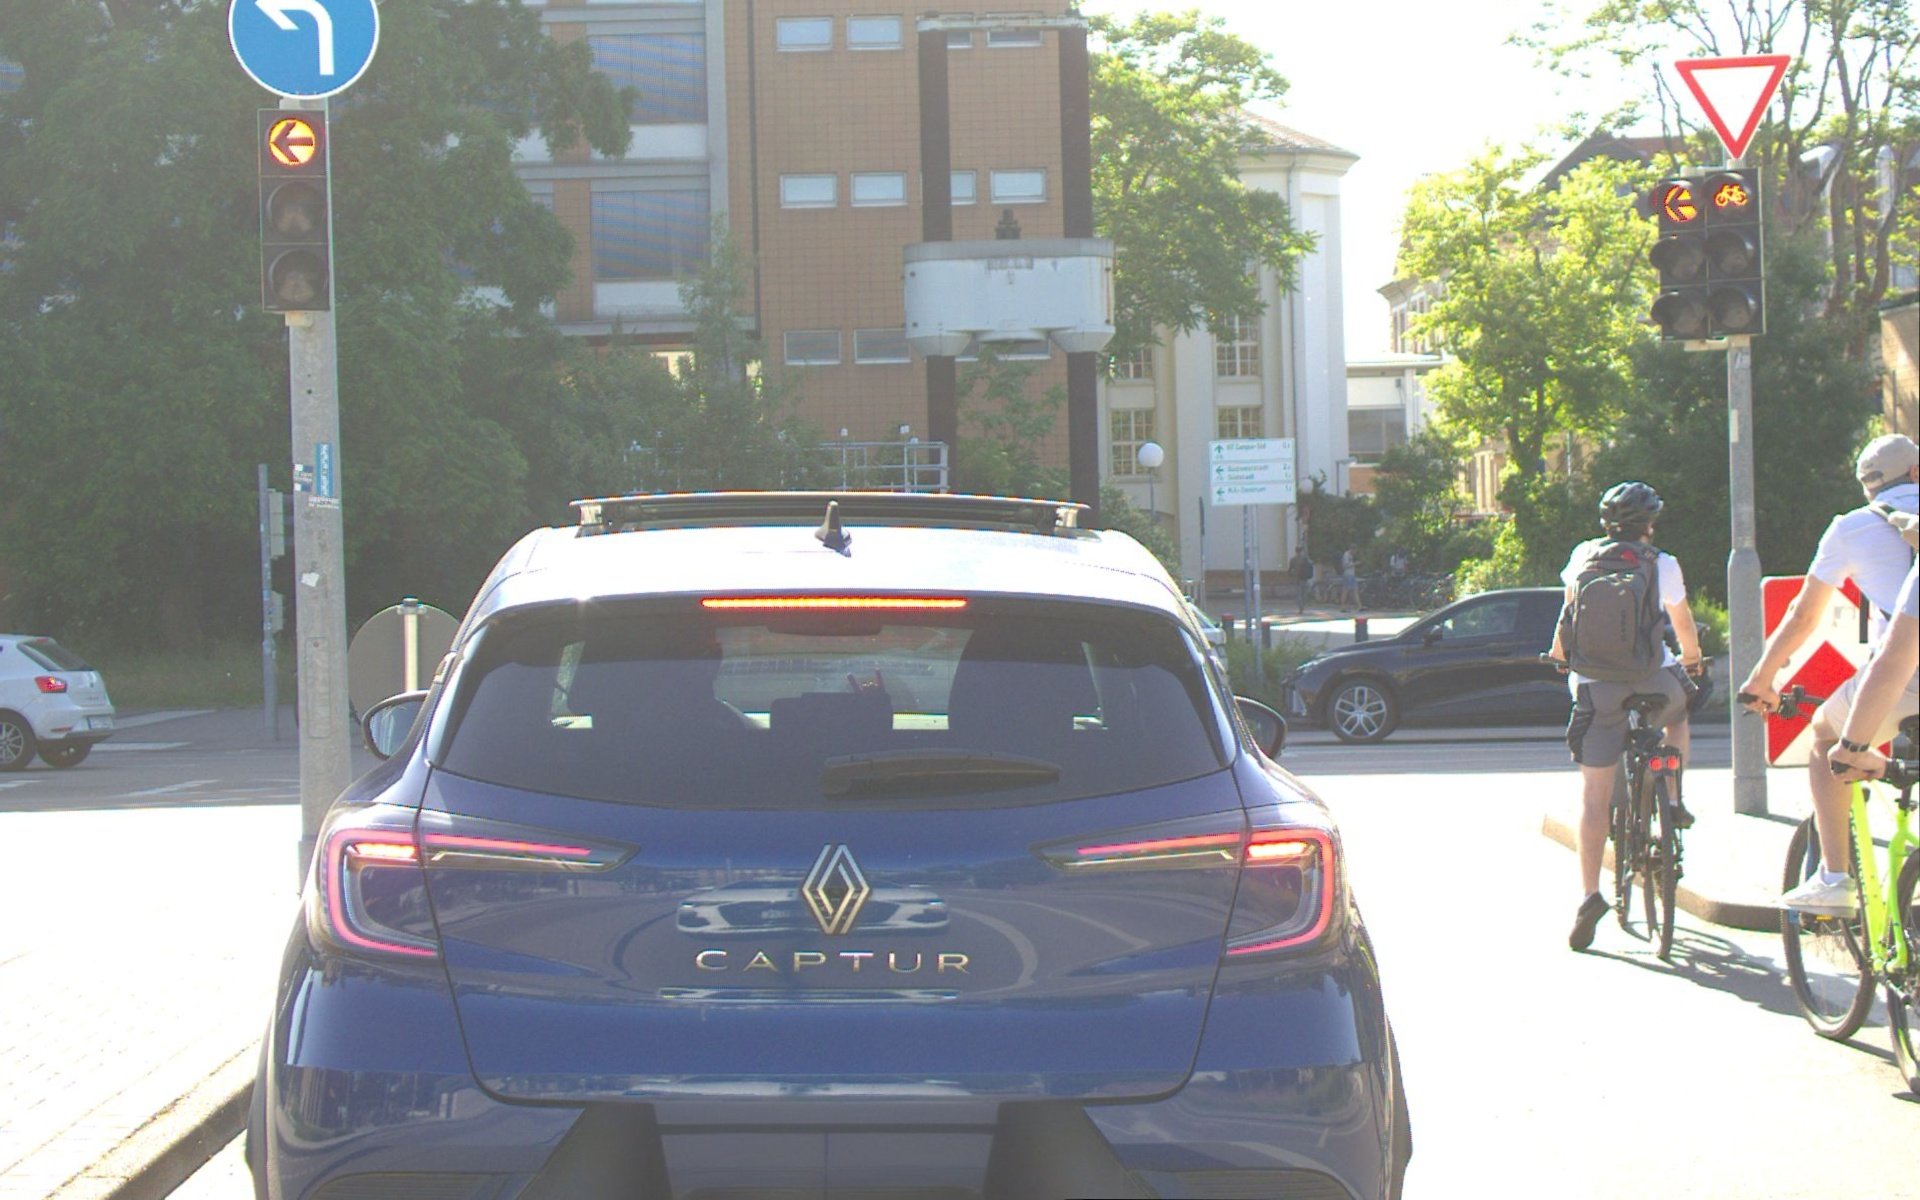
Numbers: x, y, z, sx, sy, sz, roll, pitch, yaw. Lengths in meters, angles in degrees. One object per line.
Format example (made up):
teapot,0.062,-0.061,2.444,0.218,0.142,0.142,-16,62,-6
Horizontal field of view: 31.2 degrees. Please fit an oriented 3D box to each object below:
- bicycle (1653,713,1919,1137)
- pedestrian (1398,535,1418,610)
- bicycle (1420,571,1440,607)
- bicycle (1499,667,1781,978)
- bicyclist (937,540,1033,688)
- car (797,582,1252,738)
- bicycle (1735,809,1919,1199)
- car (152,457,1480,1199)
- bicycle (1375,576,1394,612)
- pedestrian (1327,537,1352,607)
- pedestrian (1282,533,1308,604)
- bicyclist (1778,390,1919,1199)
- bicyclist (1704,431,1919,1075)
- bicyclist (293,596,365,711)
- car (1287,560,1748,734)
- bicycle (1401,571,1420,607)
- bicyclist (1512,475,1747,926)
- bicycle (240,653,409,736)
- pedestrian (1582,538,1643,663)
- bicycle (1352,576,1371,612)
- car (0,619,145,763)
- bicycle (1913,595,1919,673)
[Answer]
bicycle,2.607,0.868,9.816,0.659,0.999,1.970,1,1,-6
pedestrian,12.029,-0.748,92.389,0.475,2.007,0.468,-1,1,6
bicycle,12.908,-0.295,94.411,0.405,0.969,1.683,1,1,4
bicycle,2.506,0.784,12.895,0.739,0.992,2.173,1,1,3
bicyclist,0.323,0.176,44.029,1.102,1.861,0.653,-1,1,10
car,0.752,0.659,38.428,4.826,1.626,1.843,-1,0,11
bicycle,2.223,0.961,7.251,0.740,0.893,1.978,1,1,1
car,-0.273,0.600,6.690,1.803,1.626,4.000,0,1,-2
bicycle,11.605,-0.166,94.032,0.405,0.969,1.683,1,1,4
pedestrian,10.092,-0.754,91.471,0.613,1.849,0.467,-1,1,6
pedestrian,8.790,-0.821,90.268,0.623,1.849,0.563,-1,1,3
bicyclist,2.227,0.420,7.239,0.751,1.663,1.016,1,0,1
bicyclist,2.618,0.409,9.804,0.645,1.733,1.067,1,0,-6
bicyclist,-8.040,0.678,43.781,0.737,1.436,0.598,-2,1,-27
car,5.515,0.456,34.147,4.374,1.626,1.843,-1,0,10
bicycle,12.373,-0.303,94.398,0.405,0.969,1.683,1,1,4
bicyclist,2.503,0.358,12.940,0.726,1.623,0.969,1,0,4
bicycle,-8.087,1.192,43.763,2.005,0.961,0.598,-2,1,-27
pedestrian,8.497,0.000,44.766,0.737,1.598,0.598,-1,1,12
bicycle,10.982,-0.175,94.075,0.405,0.969,1.683,1,1,4
car,-10.708,0.953,35.998,3.837,1.430,1.742,-1,0,9
bicycle,12.964,0.402,42.732,2.077,0.961,0.598,-1,1,8
